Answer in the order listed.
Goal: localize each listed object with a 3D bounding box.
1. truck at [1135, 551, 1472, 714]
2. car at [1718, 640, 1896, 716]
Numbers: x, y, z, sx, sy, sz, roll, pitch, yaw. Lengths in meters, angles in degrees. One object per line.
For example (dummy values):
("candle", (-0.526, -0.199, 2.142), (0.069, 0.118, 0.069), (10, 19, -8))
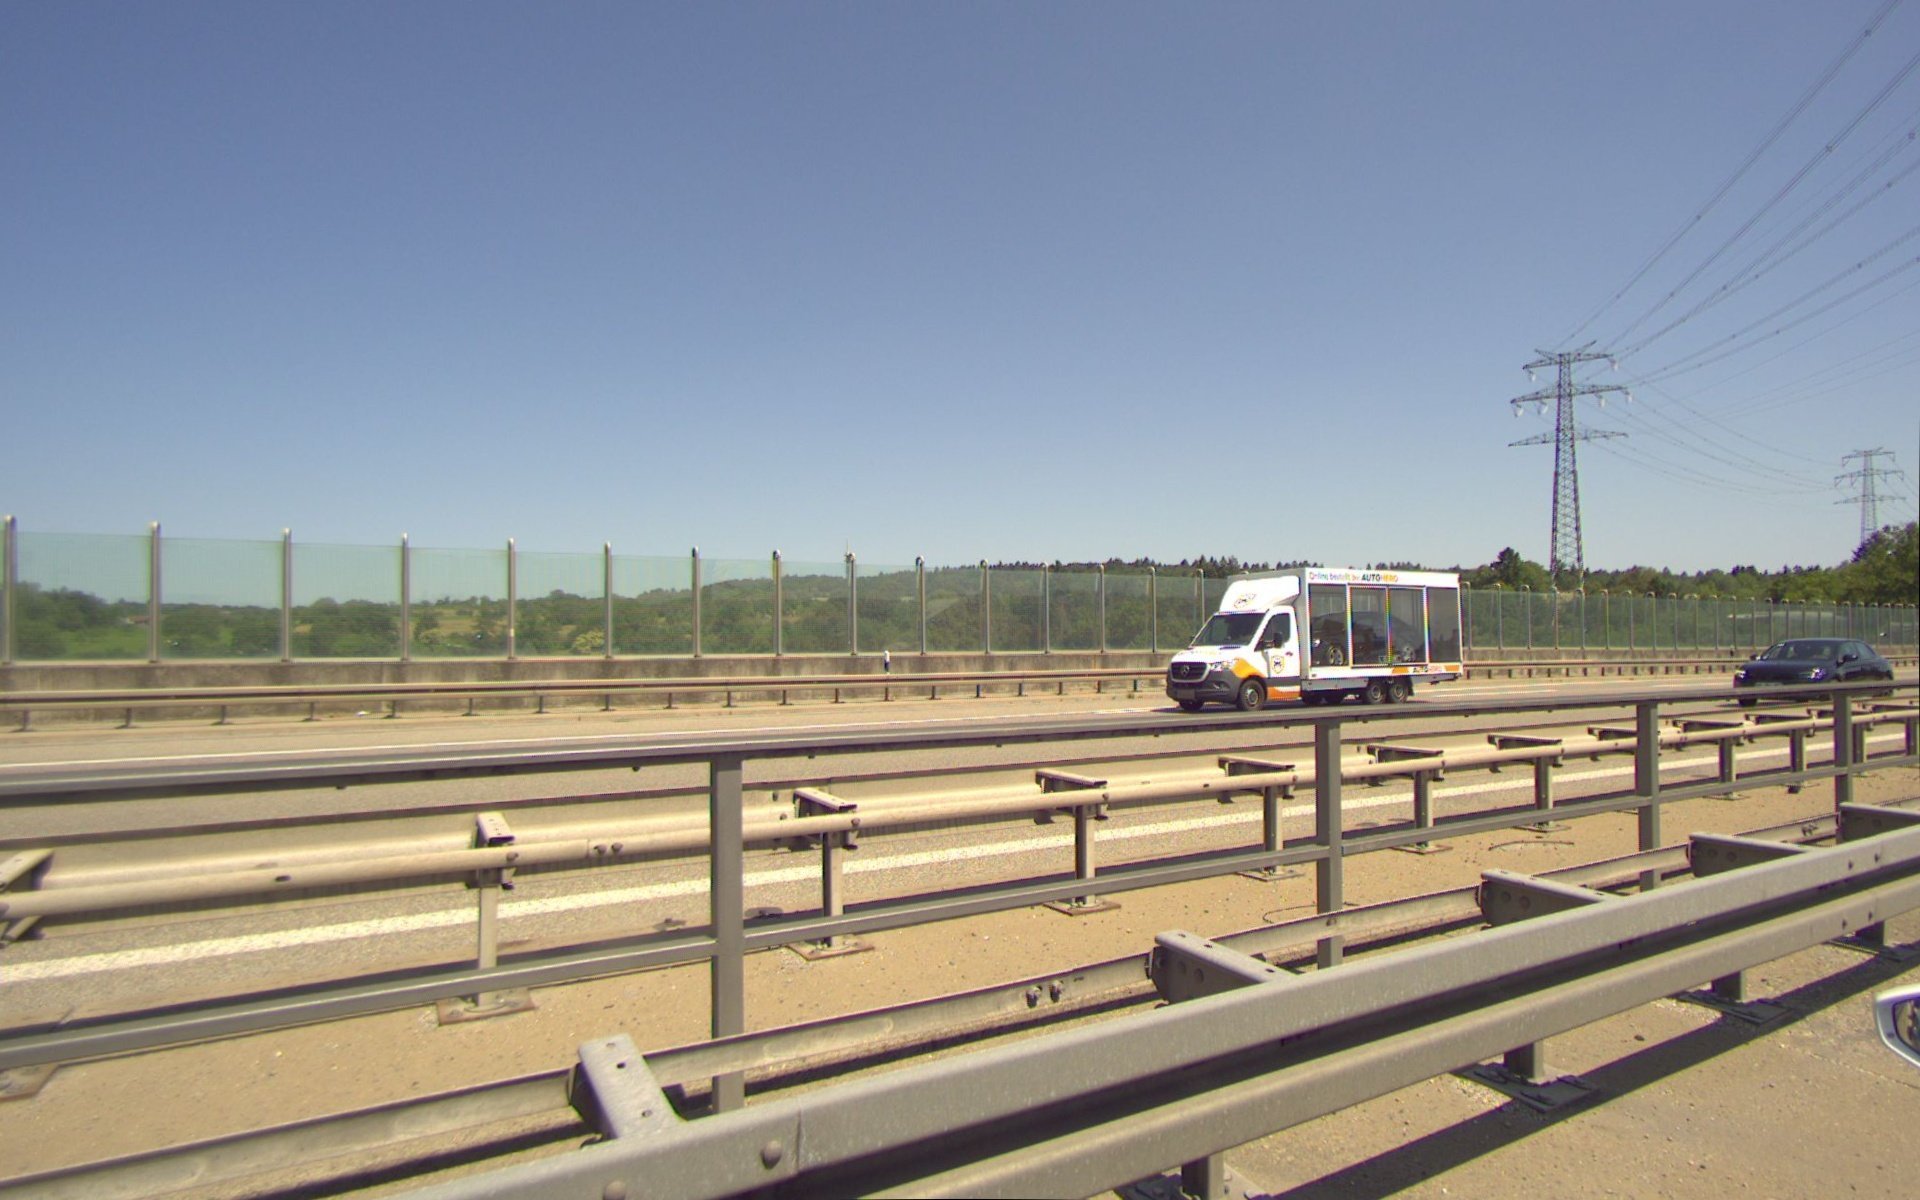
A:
("truck", (8.043, 0.832, 23.086), (8.196, 3.229, 2.552), (2, -4, -30))
("car", (18.480, 1.657, 21.887), (3.807, 1.518, 1.789), (2, -3, -30))
